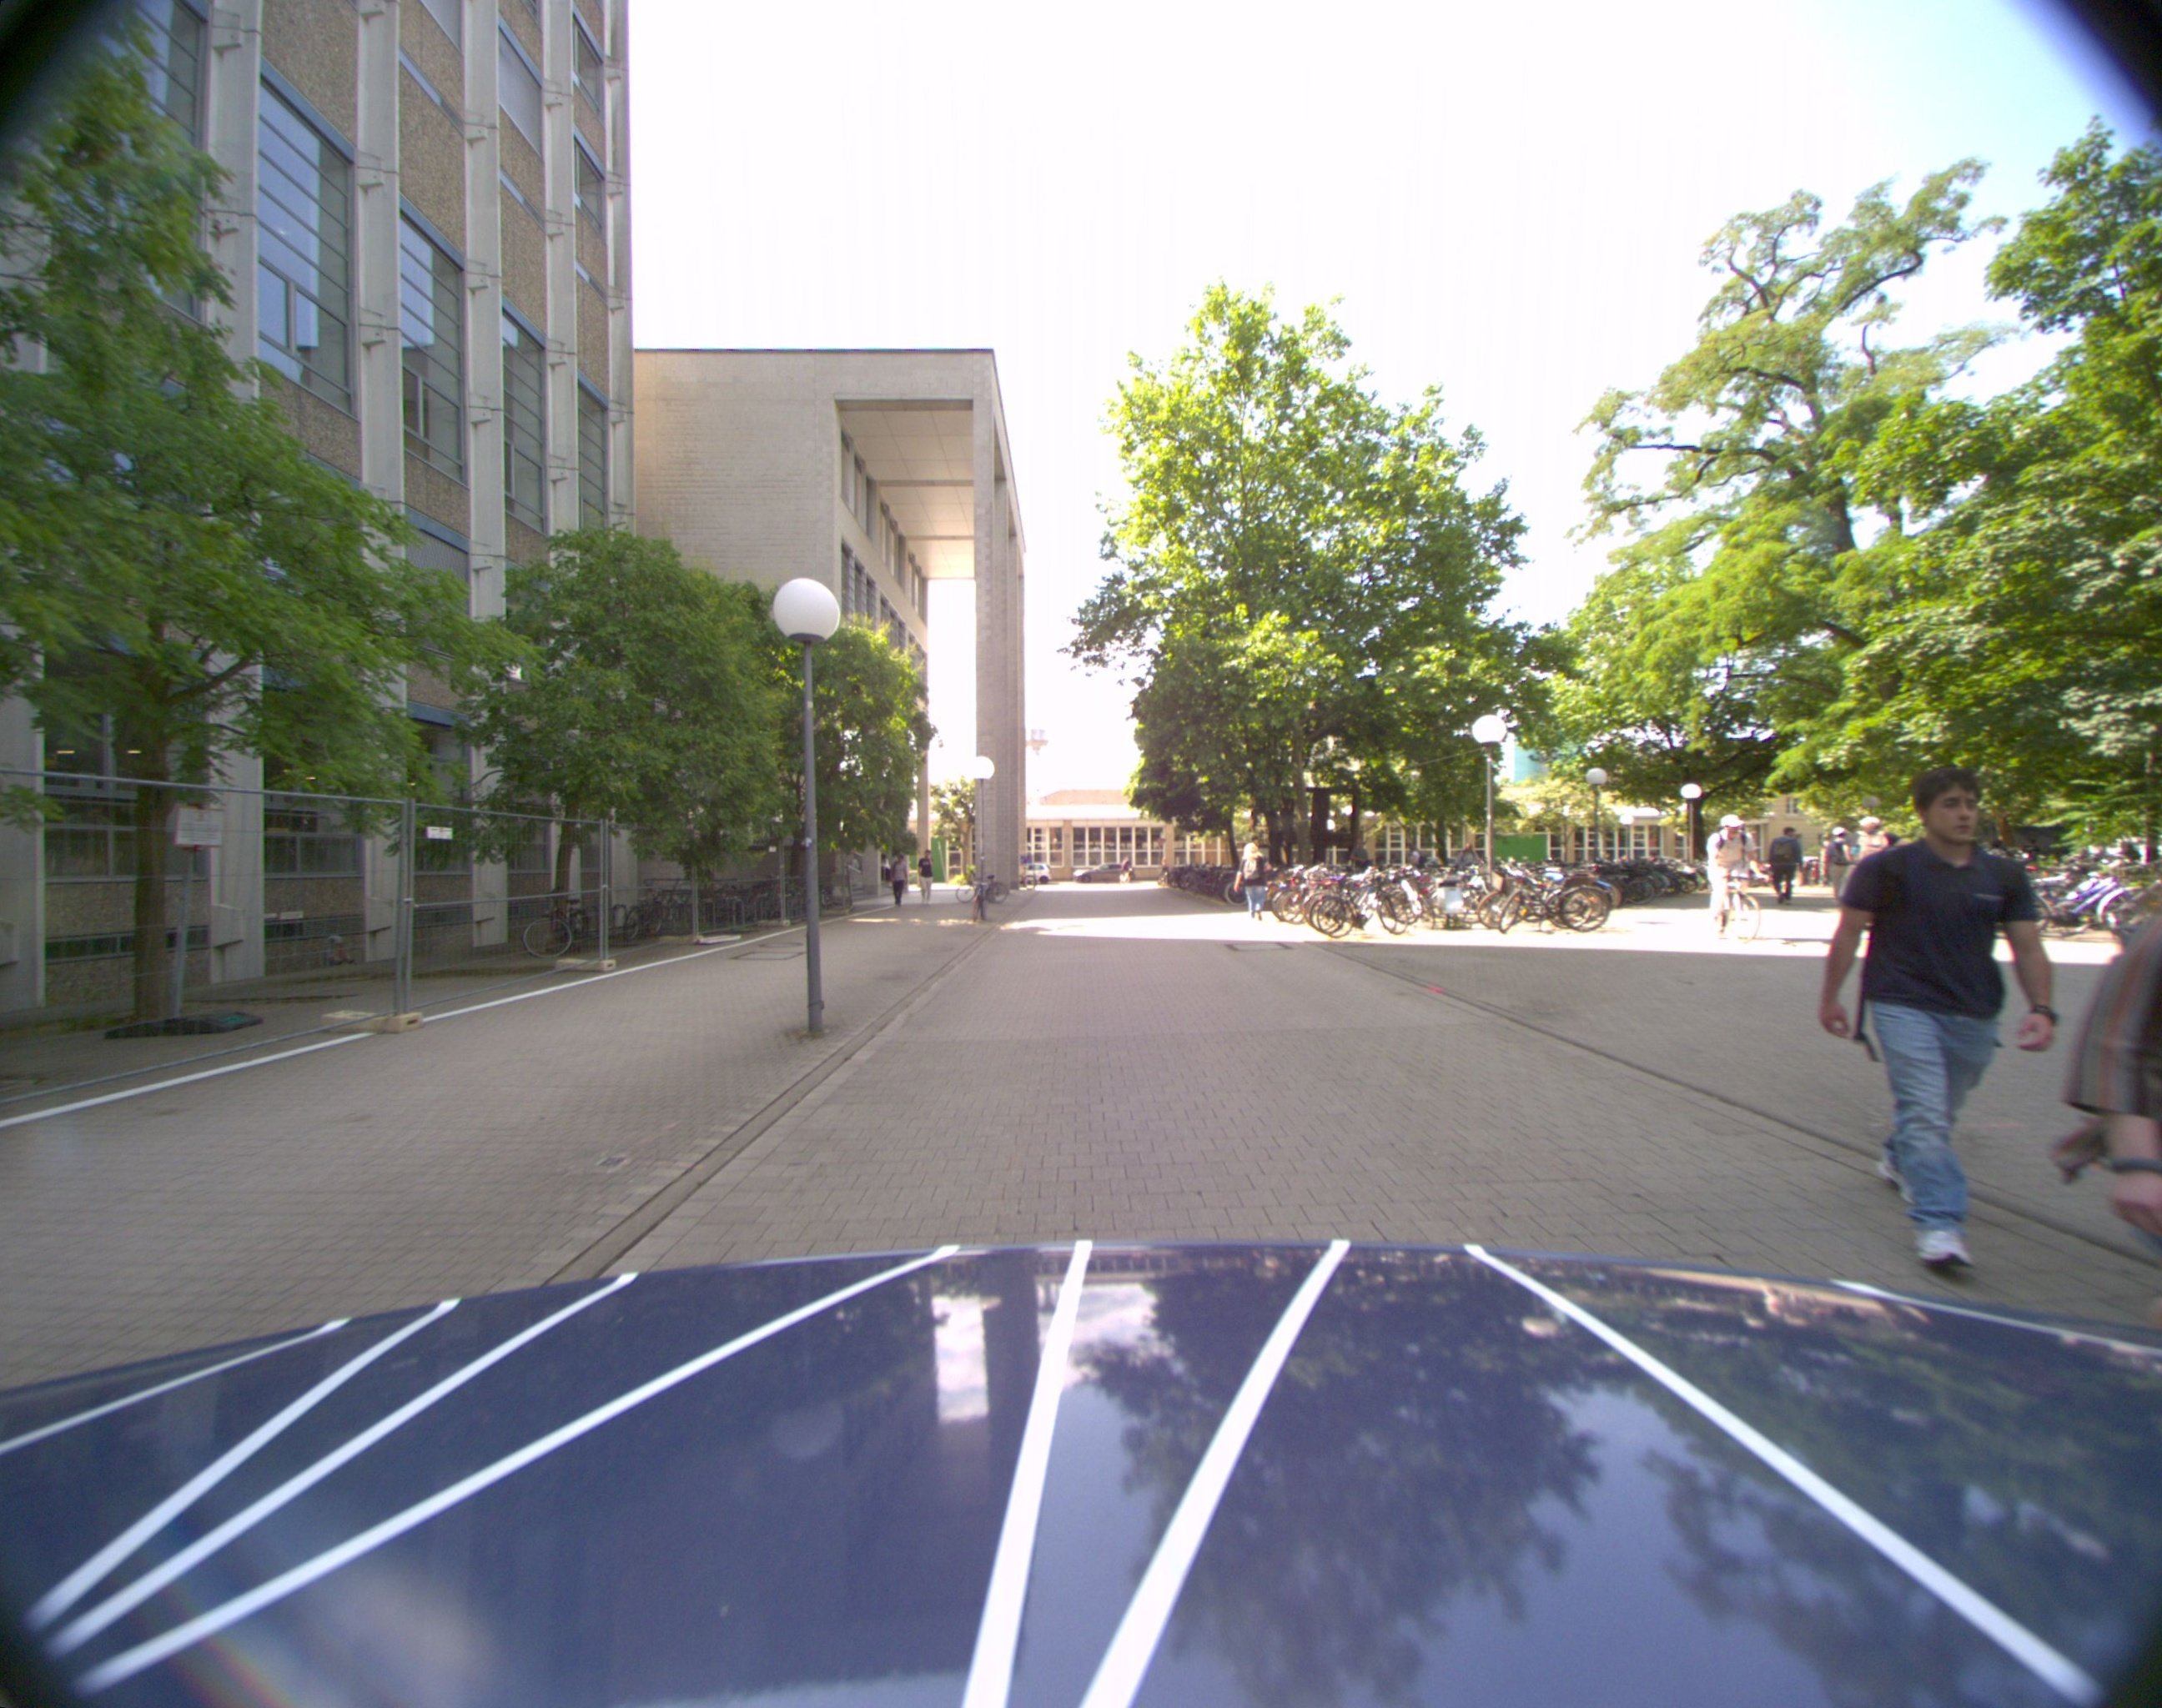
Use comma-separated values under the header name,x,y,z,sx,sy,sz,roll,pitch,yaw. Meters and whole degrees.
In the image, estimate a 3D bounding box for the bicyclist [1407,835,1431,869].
name,x,y,z,sx,sy,sz,roll,pitch,yaw
bicyclist,18.848,-0.098,42.380,0.869,1.880,0.804,0,-2,-27

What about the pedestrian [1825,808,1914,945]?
name,x,y,z,sx,sy,sz,roll,pitch,yaw
pedestrian,11.099,0.294,10.728,0.612,1.825,1.052,-1,1,31

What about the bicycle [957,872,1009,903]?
name,x,y,z,sx,sy,sz,roll,pitch,yaw
bicycle,-3.306,1.138,25.712,1.744,1.033,0.449,0,-1,-5

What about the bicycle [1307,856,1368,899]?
name,x,y,z,sx,sy,sz,roll,pitch,yaw
bicycle,7.694,0.706,22.783,1.700,1.213,0.502,-2,1,-11

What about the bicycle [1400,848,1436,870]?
name,x,y,z,sx,sy,sz,roll,pitch,yaw
bicycle,18.792,0.277,42.345,1.889,1.165,0.804,-2,-1,-27

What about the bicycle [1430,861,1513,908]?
name,x,y,z,sx,sy,sz,roll,pitch,yaw
bicycle,9.374,0.735,18.256,1.695,1.077,0.475,-1,1,36

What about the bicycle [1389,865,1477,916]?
name,x,y,z,sx,sy,sz,roll,pitch,yaw
bicycle,7.833,0.802,16.936,1.695,1.077,0.475,-1,1,35

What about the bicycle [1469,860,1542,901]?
name,x,y,z,sx,sy,sz,roll,pitch,yaw
bicycle,11.806,0.722,21.171,1.695,1.077,0.475,-1,1,44

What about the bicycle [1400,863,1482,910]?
name,x,y,z,sx,sy,sz,roll,pitch,yaw
bicycle,8.574,0.771,18.122,1.695,1.077,0.475,-1,1,31

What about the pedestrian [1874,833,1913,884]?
name,x,y,z,sx,sy,sz,roll,pitch,yaw
pedestrian,28.599,0.143,26.753,0.908,1.764,0.768,-2,1,-34

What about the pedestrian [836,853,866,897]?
name,x,y,z,sx,sy,sz,roll,pitch,yaw
pedestrian,-9.779,0.871,32.347,0.960,1.803,0.770,-2,1,-2

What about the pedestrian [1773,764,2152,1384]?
name,x,y,z,sx,sy,sz,roll,pitch,yaw
pedestrian,3.121,0.653,2.816,0.684,1.824,0.943,-1,0,34

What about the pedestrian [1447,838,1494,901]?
name,x,y,z,sx,sy,sz,roll,pitch,yaw
pedestrian,10.848,0.415,21.156,0.771,1.693,0.905,-2,1,-39

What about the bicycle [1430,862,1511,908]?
name,x,y,z,sx,sy,sz,roll,pitch,yaw
bicycle,9.578,0.744,18.698,1.695,1.077,0.475,-1,1,36

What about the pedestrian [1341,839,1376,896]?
name,x,y,z,sx,sy,sz,roll,pitch,yaw
pedestrian,8.929,0.439,24.474,0.771,1.796,0.708,-2,1,-33

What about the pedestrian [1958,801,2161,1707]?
name,x,y,z,sx,sy,sz,roll,pitch,yaw
pedestrian,2.314,0.748,1.327,0.686,1.714,0.731,-2,1,1

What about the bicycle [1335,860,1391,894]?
name,x,y,z,sx,sy,sz,roll,pitch,yaw
bicycle,9.520,0.773,25.690,1.695,1.101,0.504,-1,1,36

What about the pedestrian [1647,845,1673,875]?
name,x,y,z,sx,sy,sz,roll,pitch,yaw
pedestrian,32.384,0.349,42.527,0.874,1.674,0.728,-1,0,-4

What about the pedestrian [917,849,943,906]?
name,x,y,z,sx,sy,sz,roll,pitch,yaw
pedestrian,-4.904,0.759,24.686,0.703,1.792,0.881,-1,0,-18

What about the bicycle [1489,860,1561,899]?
name,x,y,z,sx,sy,sz,roll,pitch,yaw
bicycle,12.793,0.715,21.929,1.695,1.077,0.475,-1,1,44

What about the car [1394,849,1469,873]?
name,x,y,z,sx,sy,sz,roll,pitch,yaw
car,25.161,0.494,54.645,4.536,1.608,1.837,-1,1,-2

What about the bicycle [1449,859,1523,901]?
name,x,y,z,sx,sy,sz,roll,pitch,yaw
bicycle,10.929,0.698,20.532,1.695,1.077,0.475,-1,1,36

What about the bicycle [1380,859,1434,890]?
name,x,y,z,sx,sy,sz,roll,pitch,yaw
bicycle,12.015,0.766,28.005,1.695,1.101,0.633,-1,1,40

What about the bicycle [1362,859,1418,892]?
name,x,y,z,sx,sy,sz,roll,pitch,yaw
bicycle,10.587,0.745,26.084,1.695,1.101,0.504,-1,1,36

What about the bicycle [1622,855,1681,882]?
name,x,y,z,sx,sy,sz,roll,pitch,yaw
bicycle,23.374,0.595,31.174,0.475,1.077,1.854,-2,1,-38

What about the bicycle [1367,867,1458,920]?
name,x,y,z,sx,sy,sz,roll,pitch,yaw
bicycle,7.073,0.842,16.271,1.696,1.077,0.474,-2,1,13

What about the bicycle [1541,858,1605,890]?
name,x,y,z,sx,sy,sz,roll,pitch,yaw
bicycle,17.558,0.700,27.173,0.475,1.077,1.854,-2,1,-38

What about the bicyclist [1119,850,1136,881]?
name,x,y,z,sx,sy,sz,roll,pitch,yaw
bicyclist,2.603,0.632,42.307,0.772,1.706,0.912,0,2,14

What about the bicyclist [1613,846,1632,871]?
name,x,y,z,sx,sy,sz,roll,pitch,yaw
bicyclist,34.375,0.273,48.227,0.727,1.526,0.605,0,2,2

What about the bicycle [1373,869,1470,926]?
name,x,y,z,sx,sy,sz,roll,pitch,yaw
bicycle,6.785,0.866,15.198,1.697,1.077,0.474,-2,1,12

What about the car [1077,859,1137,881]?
name,x,y,z,sx,sy,sz,roll,pitch,yaw
car,1.865,1.139,54.614,4.209,1.468,1.653,-1,2,0

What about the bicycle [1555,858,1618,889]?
name,x,y,z,sx,sy,sz,roll,pitch,yaw
bicycle,18.571,0.719,27.943,0.475,1.077,1.854,-2,1,-38

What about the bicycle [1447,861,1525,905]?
name,x,y,z,sx,sy,sz,roll,pitch,yaw
bicycle,10.401,0.731,19.550,1.695,1.077,0.475,-1,1,36

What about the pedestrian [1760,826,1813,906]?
name,x,y,z,sx,sy,sz,roll,pitch,yaw
pedestrian,16.368,0.266,17.628,0.884,1.804,0.832,-2,1,-43

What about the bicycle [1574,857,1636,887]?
name,x,y,z,sx,sy,sz,roll,pitch,yaw
bicycle,19.756,0.673,28.692,0.475,1.077,1.854,-2,1,-38

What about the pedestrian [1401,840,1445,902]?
name,x,y,z,sx,sy,sz,roll,pitch,yaw
pedestrian,9.738,0.475,21.669,0.906,1.693,0.770,-2,0,5

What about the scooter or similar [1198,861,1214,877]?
name,x,y,z,sx,sy,sz,roll,pitch,yaw
scooter or similar,9.455,1.110,57.491,1.157,1.219,0.290,-1,0,3

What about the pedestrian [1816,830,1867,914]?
name,x,y,z,sx,sy,sz,roll,pitch,yaw
pedestrian,17.005,0.387,16.989,0.986,1.793,0.768,-2,1,-44

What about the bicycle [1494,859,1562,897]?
name,x,y,z,sx,sy,sz,roll,pitch,yaw
bicycle,13.503,0.709,22.973,0.475,1.077,1.695,-2,1,-38

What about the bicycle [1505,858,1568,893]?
name,x,y,z,sx,sy,sz,roll,pitch,yaw
bicycle,14.820,0.696,24.772,0.475,1.077,1.695,-2,1,-38

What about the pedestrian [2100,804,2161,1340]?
name,x,y,z,sx,sy,sz,roll,pitch,yaw
pedestrian,3.621,0.692,2.039,0.717,1.714,1.067,-1,0,33

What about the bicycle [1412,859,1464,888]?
name,x,y,z,sx,sy,sz,roll,pitch,yaw
bicycle,13.951,0.764,29.755,0.504,1.101,1.775,-2,1,-38

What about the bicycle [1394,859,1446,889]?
name,x,y,z,sx,sy,sz,roll,pitch,yaw
bicycle,12.877,0.750,28.870,1.695,1.101,0.504,-1,1,40

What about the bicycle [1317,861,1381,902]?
name,x,y,z,sx,sy,sz,roll,pitch,yaw
bicycle,7.673,0.786,21.741,1.700,1.101,0.502,-2,1,-11

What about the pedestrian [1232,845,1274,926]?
name,x,y,z,sx,sy,sz,roll,pitch,yaw
pedestrian,3.747,0.674,16.487,0.768,1.670,0.908,-3,1,15

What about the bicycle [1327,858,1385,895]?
name,x,y,z,sx,sy,sz,roll,pitch,yaw
bicycle,9.124,0.738,25.208,1.695,1.193,0.577,-1,1,36

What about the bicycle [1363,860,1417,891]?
name,x,y,z,sx,sy,sz,roll,pitch,yaw
bicycle,11.085,0.768,27.312,1.695,1.101,0.504,-1,1,40

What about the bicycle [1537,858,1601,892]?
name,x,y,z,sx,sy,sz,roll,pitch,yaw
bicycle,16.161,0.681,25.200,0.475,1.077,1.695,-2,1,-38

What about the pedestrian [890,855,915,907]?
name,x,y,z,sx,sy,sz,roll,pitch,yaw
pedestrian,-5.773,0.859,24.583,0.703,1.645,0.881,-1,0,-18

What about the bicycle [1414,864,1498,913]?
name,x,y,z,sx,sy,sz,roll,pitch,yaw
bicycle,8.628,0.788,17.510,1.695,1.077,0.475,-1,1,31

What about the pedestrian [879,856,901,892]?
name,x,y,z,sx,sy,sz,roll,pitch,yaw
pedestrian,-8.726,0.913,34.767,0.809,1.608,0.739,-1,0,-30

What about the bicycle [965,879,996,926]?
name,x,y,z,sx,sy,sz,roll,pitch,yaw
bicycle,-2.483,1.173,18.867,0.538,1.033,1.858,0,0,0

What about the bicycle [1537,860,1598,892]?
name,x,y,z,sx,sy,sz,roll,pitch,yaw
bicycle,16.768,0.745,26.226,0.475,1.077,1.695,-2,1,-38

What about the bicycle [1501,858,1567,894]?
name,x,y,z,sx,sy,sz,roll,pitch,yaw
bicycle,14.248,0.685,23.942,0.475,1.077,1.695,-2,1,-38

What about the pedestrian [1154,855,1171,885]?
name,x,y,z,sx,sy,sz,roll,pitch,yaw
pedestrian,4.503,0.906,42.058,0.881,1.645,0.703,-1,0,12

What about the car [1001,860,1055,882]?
name,x,y,z,sx,sy,sz,roll,pitch,yaw
car,-3.772,1.187,54.443,3.776,1.468,1.653,-1,2,0

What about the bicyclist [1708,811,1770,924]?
name,x,y,z,sx,sy,sz,roll,pitch,yaw
bicyclist,9.428,0.188,10.910,0.594,1.559,0.723,-1,1,35
